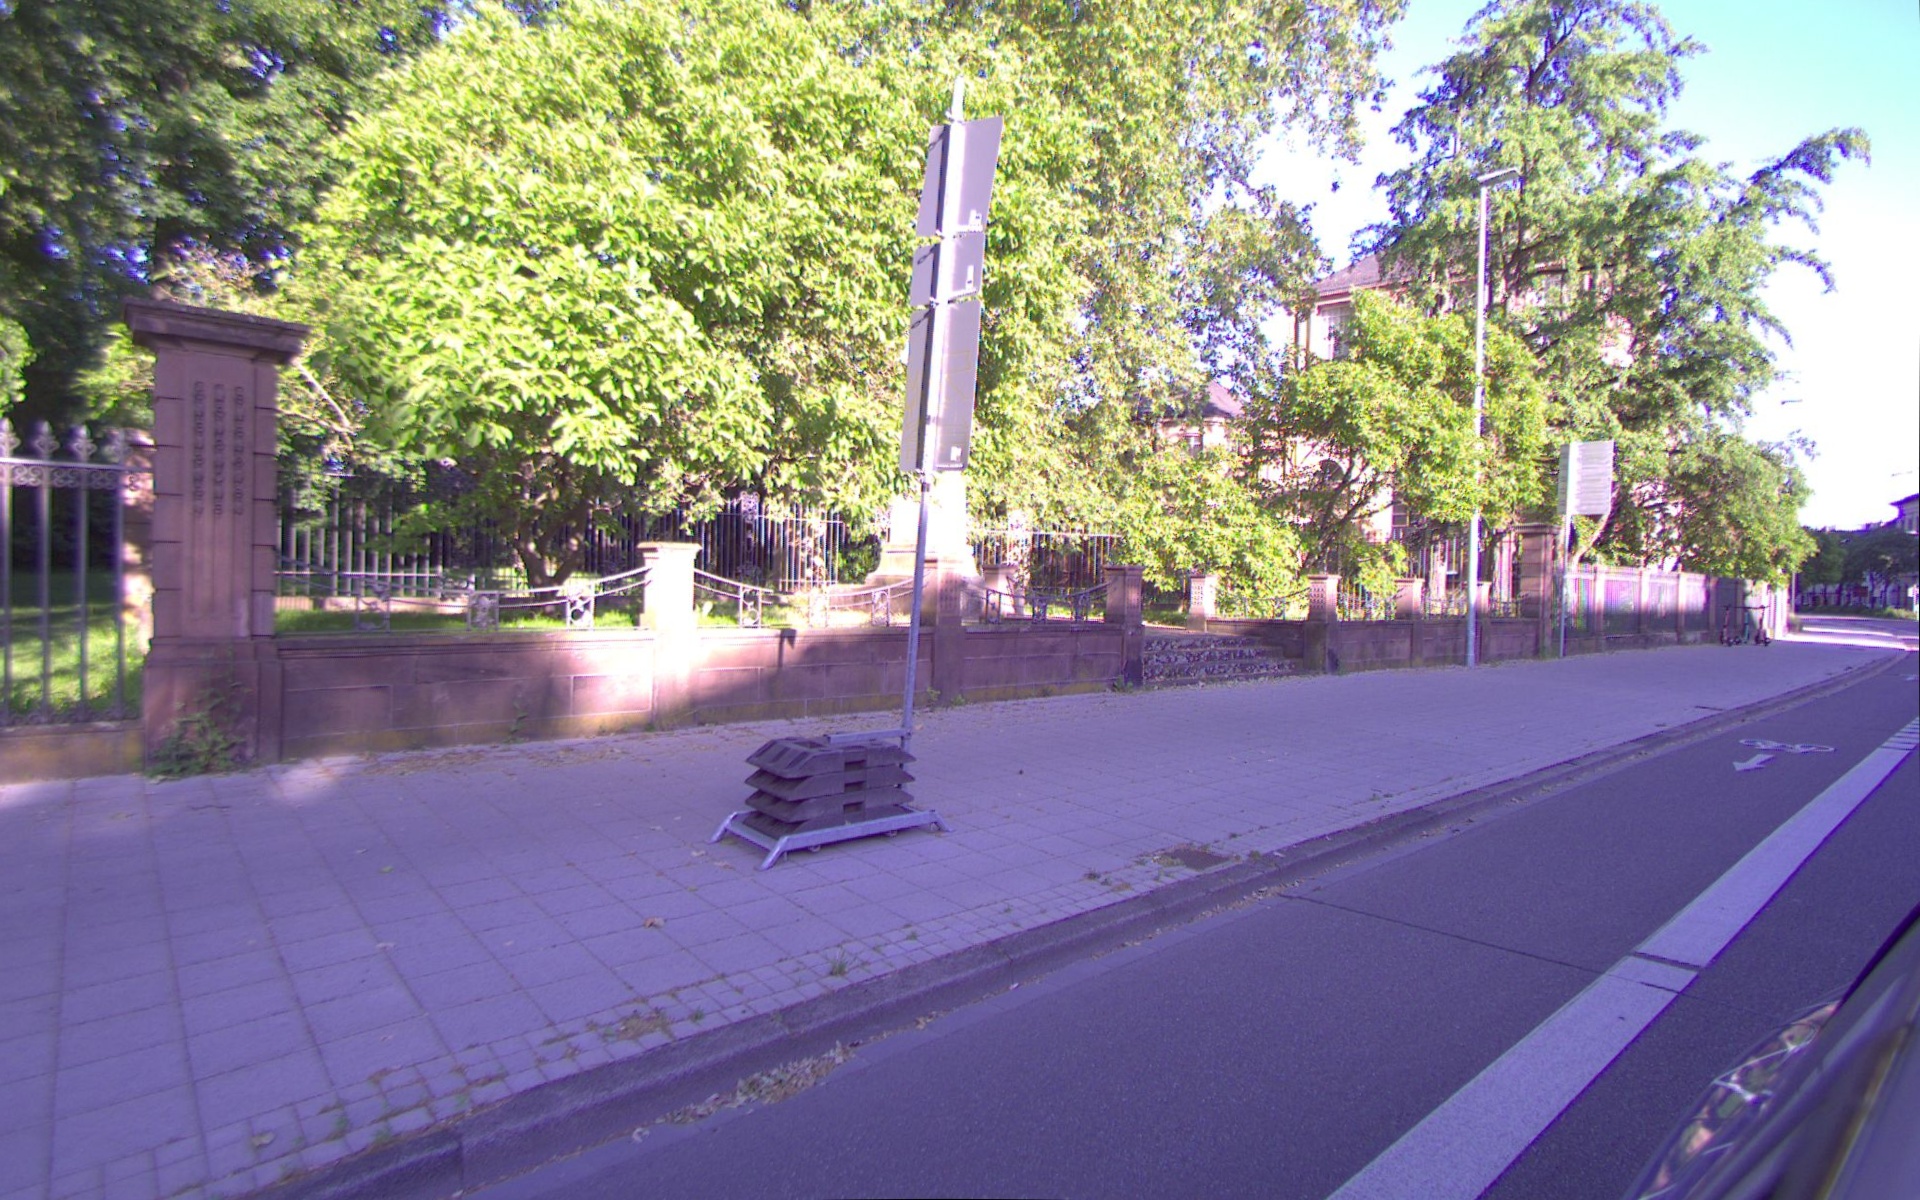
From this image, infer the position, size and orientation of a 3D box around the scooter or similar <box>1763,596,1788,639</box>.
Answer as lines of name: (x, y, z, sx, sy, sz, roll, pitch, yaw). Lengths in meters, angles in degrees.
scooter or similar: (25.002, 0.532, 31.046, 0.514, 1.255, 1.502, 3, 2, 37)

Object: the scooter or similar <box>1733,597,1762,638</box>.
scooter or similar: (23.903, 0.523, 30.697, 0.574, 1.199, 1.465, 3, 2, 41)

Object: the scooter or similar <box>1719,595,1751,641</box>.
scooter or similar: (22.556, 0.511, 29.472, 0.572, 1.269, 1.470, 2, 2, 33)
